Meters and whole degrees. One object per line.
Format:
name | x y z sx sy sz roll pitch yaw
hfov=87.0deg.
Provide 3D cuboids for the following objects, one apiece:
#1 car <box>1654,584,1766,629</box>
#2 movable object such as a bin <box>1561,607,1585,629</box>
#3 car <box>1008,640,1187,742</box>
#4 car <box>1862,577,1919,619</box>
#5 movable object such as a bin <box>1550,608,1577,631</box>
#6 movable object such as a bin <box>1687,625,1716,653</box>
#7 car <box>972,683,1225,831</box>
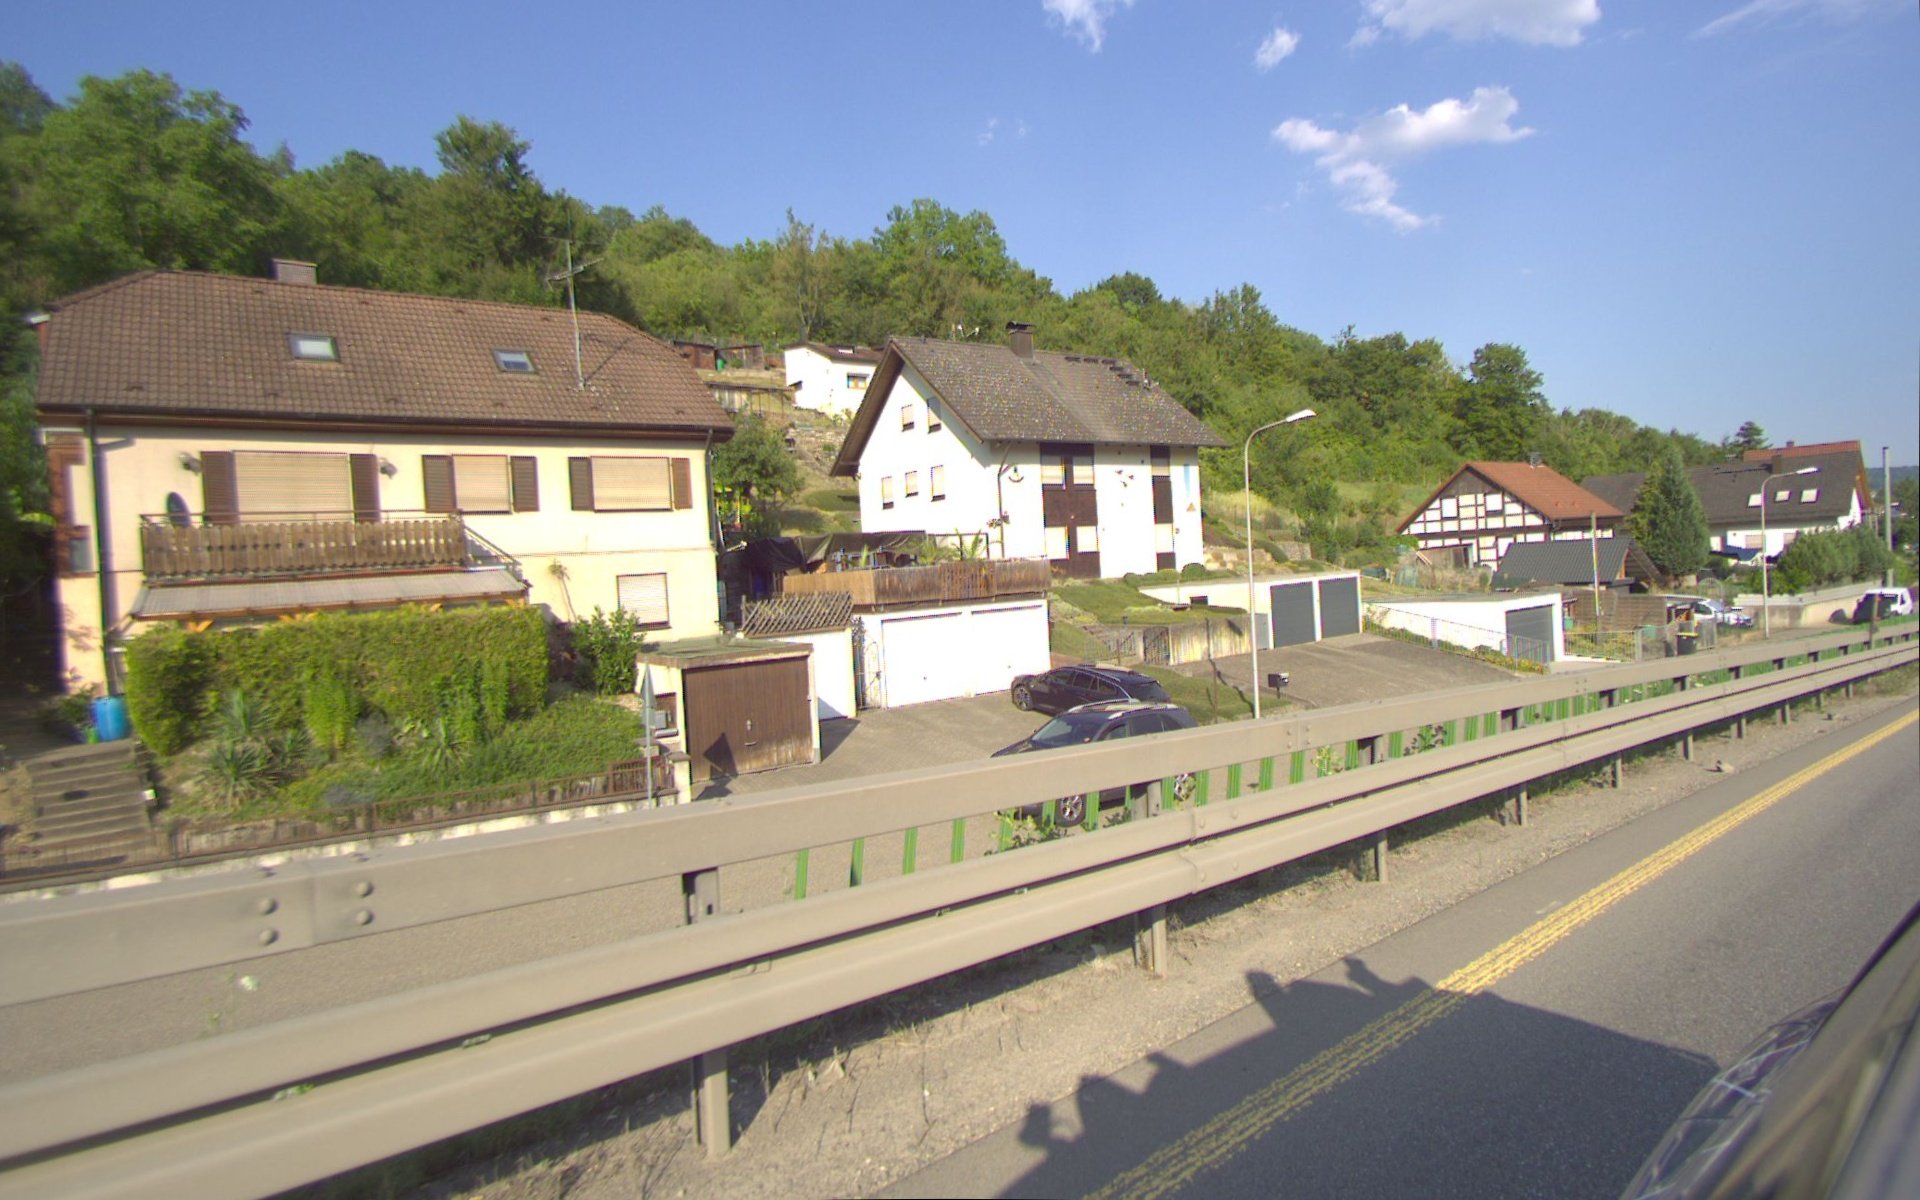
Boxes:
car | 36.249 0.266 48.987 1.718 1.860 4.000 -2 5 -37
movable object such as a bin | 26.405 0.758 43.600 0.668 0.912 0.688 -1 2 -40
car | 3.378 2.212 25.771 1.962 1.542 4.515 -3 9 -34
car | 47.468 -0.128 51.396 4.209 1.966 1.823 -3 1 -39
movable object such as a bin | 25.581 0.815 42.917 0.668 0.912 0.791 -1 2 -40
movable object such as a bin | 28.163 1.484 38.421 0.665 1.013 0.723 -1 -1 -38
car | 2.572 2.703 18.325 4.414 1.806 1.869 -3 3 -35
